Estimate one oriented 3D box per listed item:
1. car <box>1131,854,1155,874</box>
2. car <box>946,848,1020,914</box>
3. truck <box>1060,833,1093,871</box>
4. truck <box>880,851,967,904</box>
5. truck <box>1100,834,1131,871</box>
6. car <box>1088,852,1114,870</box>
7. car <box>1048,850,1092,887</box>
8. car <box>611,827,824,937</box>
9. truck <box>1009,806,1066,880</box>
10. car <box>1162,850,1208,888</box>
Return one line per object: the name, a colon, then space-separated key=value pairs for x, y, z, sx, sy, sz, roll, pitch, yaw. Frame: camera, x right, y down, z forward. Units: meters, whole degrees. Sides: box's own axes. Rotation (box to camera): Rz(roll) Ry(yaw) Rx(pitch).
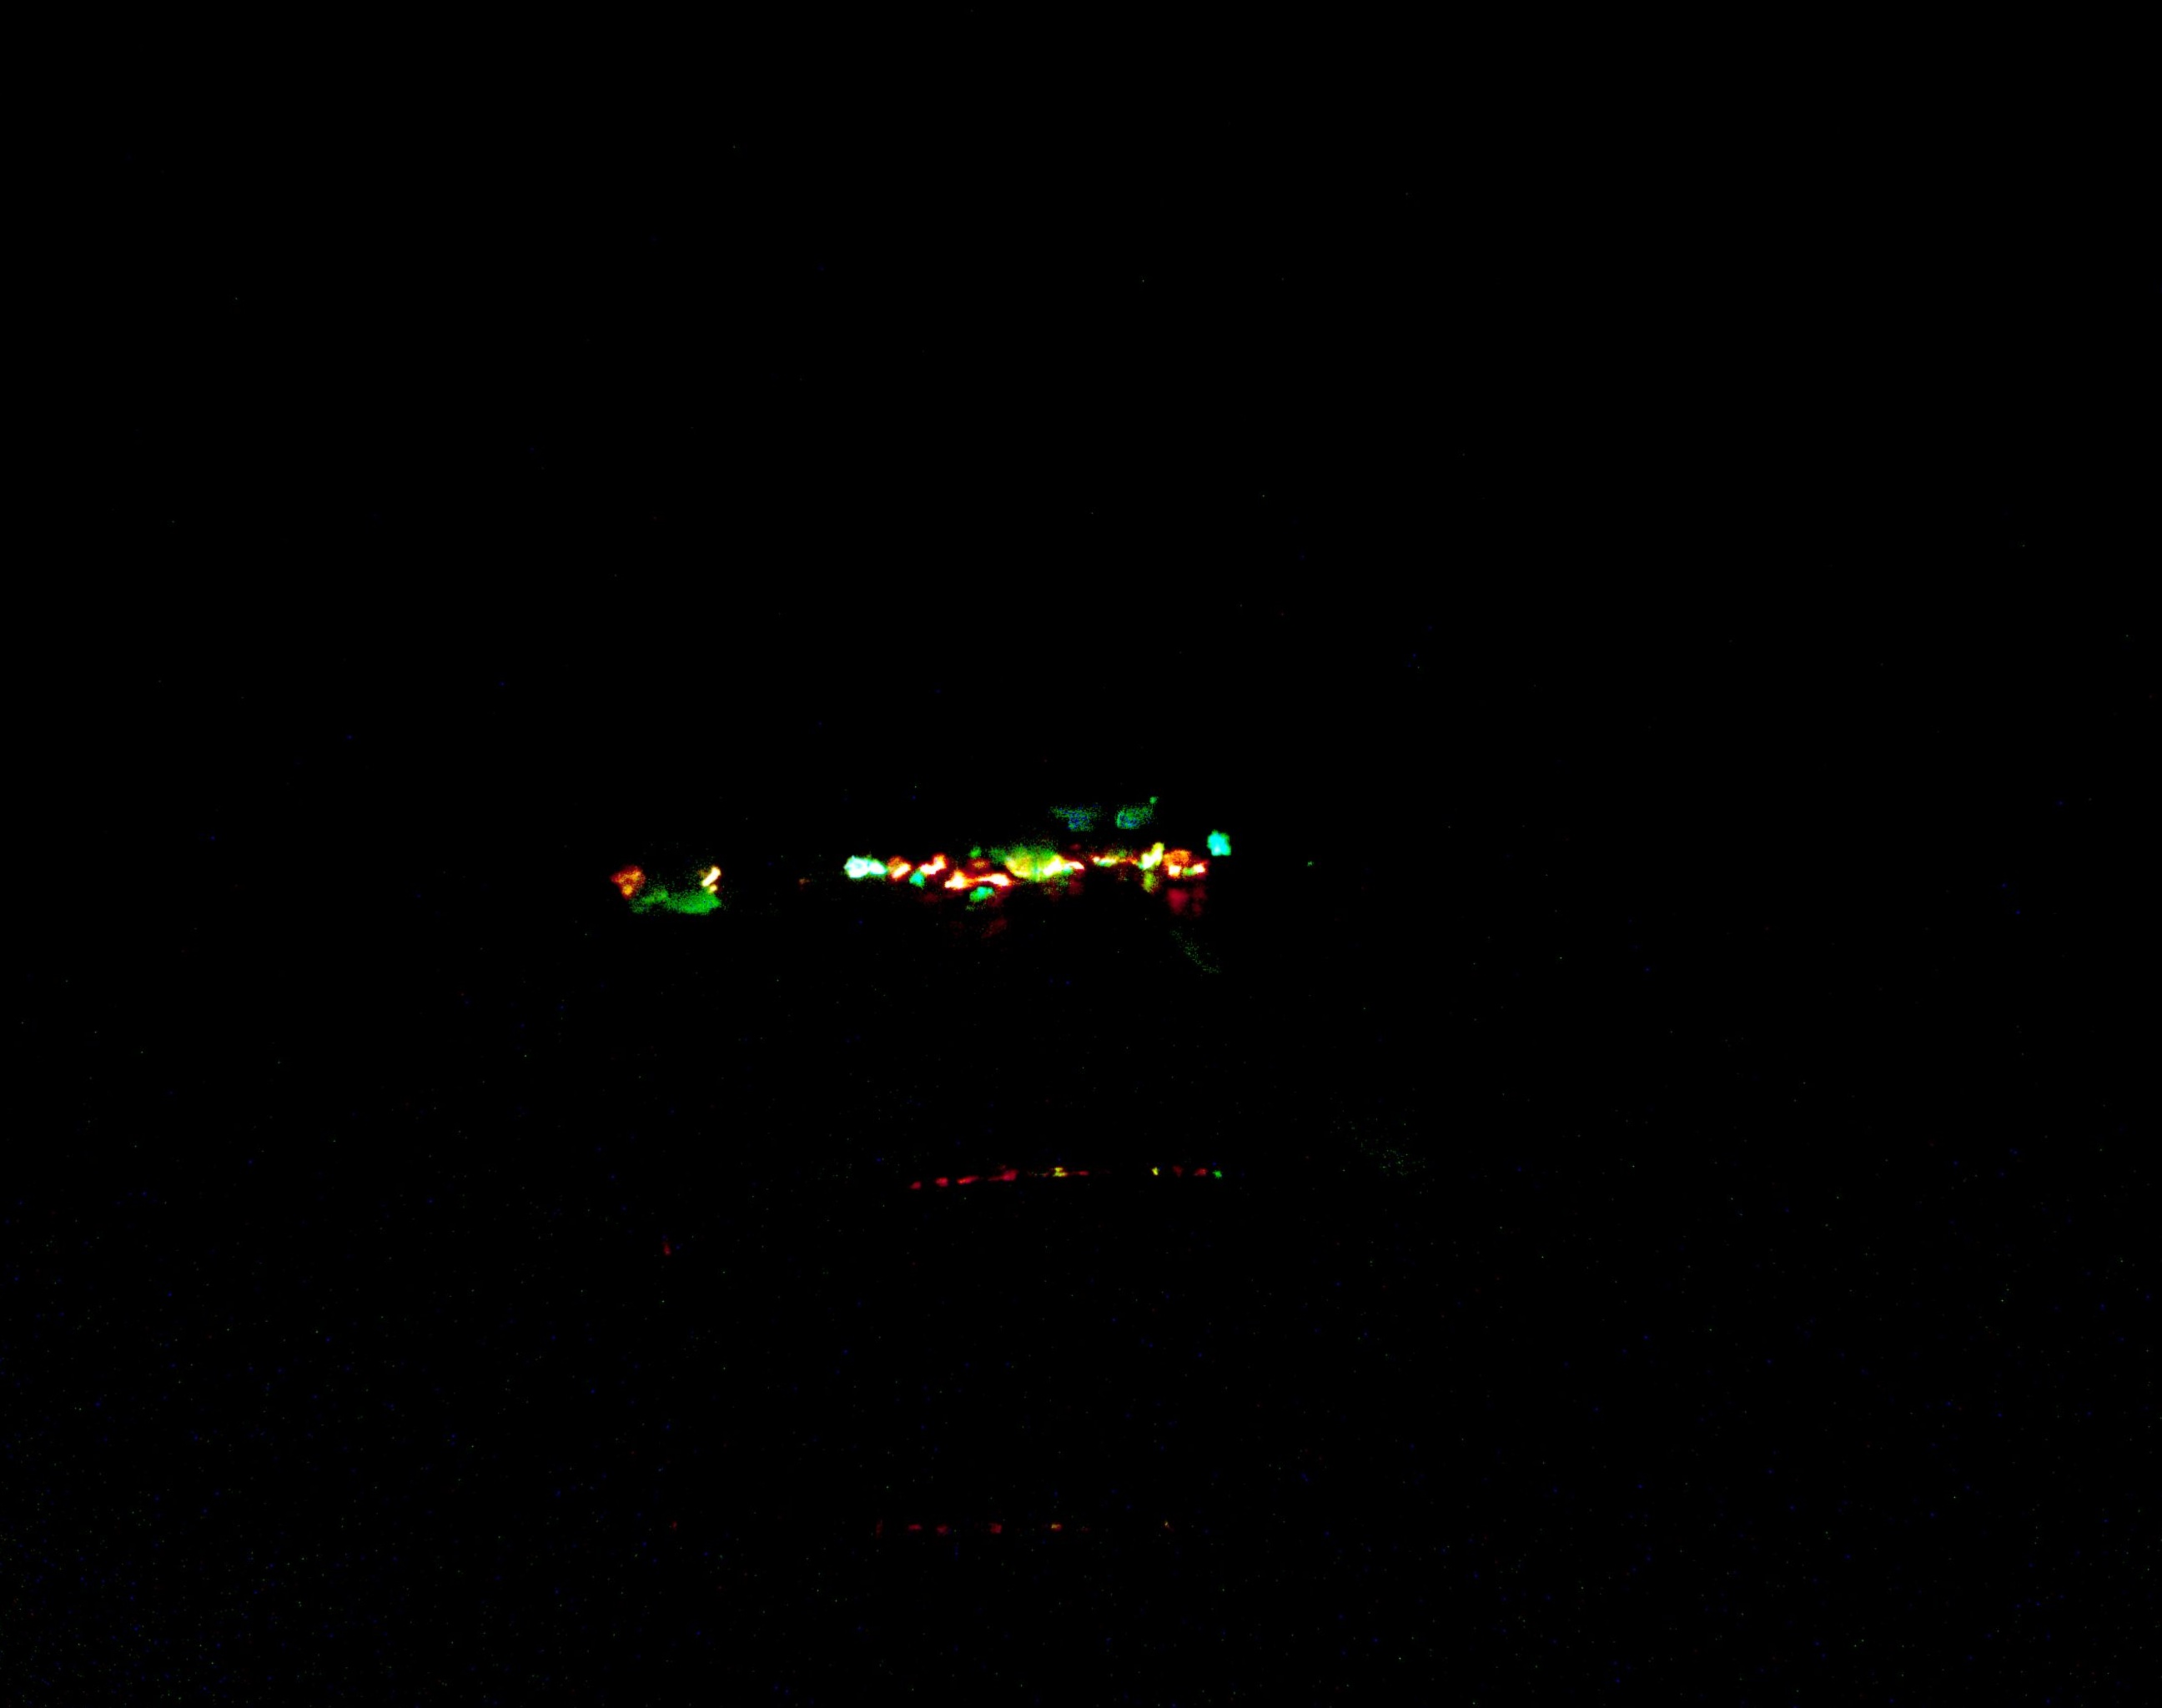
car: x=5.438 y=0.870 z=71.759 sx=1.986 sy=1.704 sz=4.460 roll=0 pitch=-1 yaw=2
car: x=-2.710 y=0.697 z=23.367 sx=1.761 sy=1.689 sz=3.997 roll=-1 pitch=0 yaw=-2
truck: x=-0.527 y=-0.229 z=121.267 sx=4.236 sy=5.444 sz=10.894 roll=0 pitch=-1 yaw=3
truck: x=-7.008 y=0.998 z=37.046 sx=2.849 sy=2.201 sz=5.856 roll=0 pitch=-1 yaw=-1
truck: x=5.014 y=-0.138 z=120.749 sx=4.149 sy=5.215 sz=9.949 roll=0 pitch=-1 yaw=-1
car: x=2.346 y=0.806 z=92.346 sx=2.822 sy=2.014 sz=5.513 roll=0 pitch=-1 yaw=2
car: x=-0.484 y=0.729 z=41.217 sx=2.031 sy=1.761 sz=4.517 roll=0 pitch=-1 yaw=2
car: x=-7.896 y=0.552 z=18.520 sx=2.115 sy=2.104 sz=5.632 roll=-1 pitch=0 yaw=2
truck: x=-2.955 y=-0.663 z=57.213 sx=3.647 sy=4.737 sz=9.843 roll=0 pitch=-1 yaw=-2
car: x=4.986 y=0.708 z=39.558 sx=1.870 sy=1.762 sz=4.002 roll=0 pitch=-1 yaw=2
